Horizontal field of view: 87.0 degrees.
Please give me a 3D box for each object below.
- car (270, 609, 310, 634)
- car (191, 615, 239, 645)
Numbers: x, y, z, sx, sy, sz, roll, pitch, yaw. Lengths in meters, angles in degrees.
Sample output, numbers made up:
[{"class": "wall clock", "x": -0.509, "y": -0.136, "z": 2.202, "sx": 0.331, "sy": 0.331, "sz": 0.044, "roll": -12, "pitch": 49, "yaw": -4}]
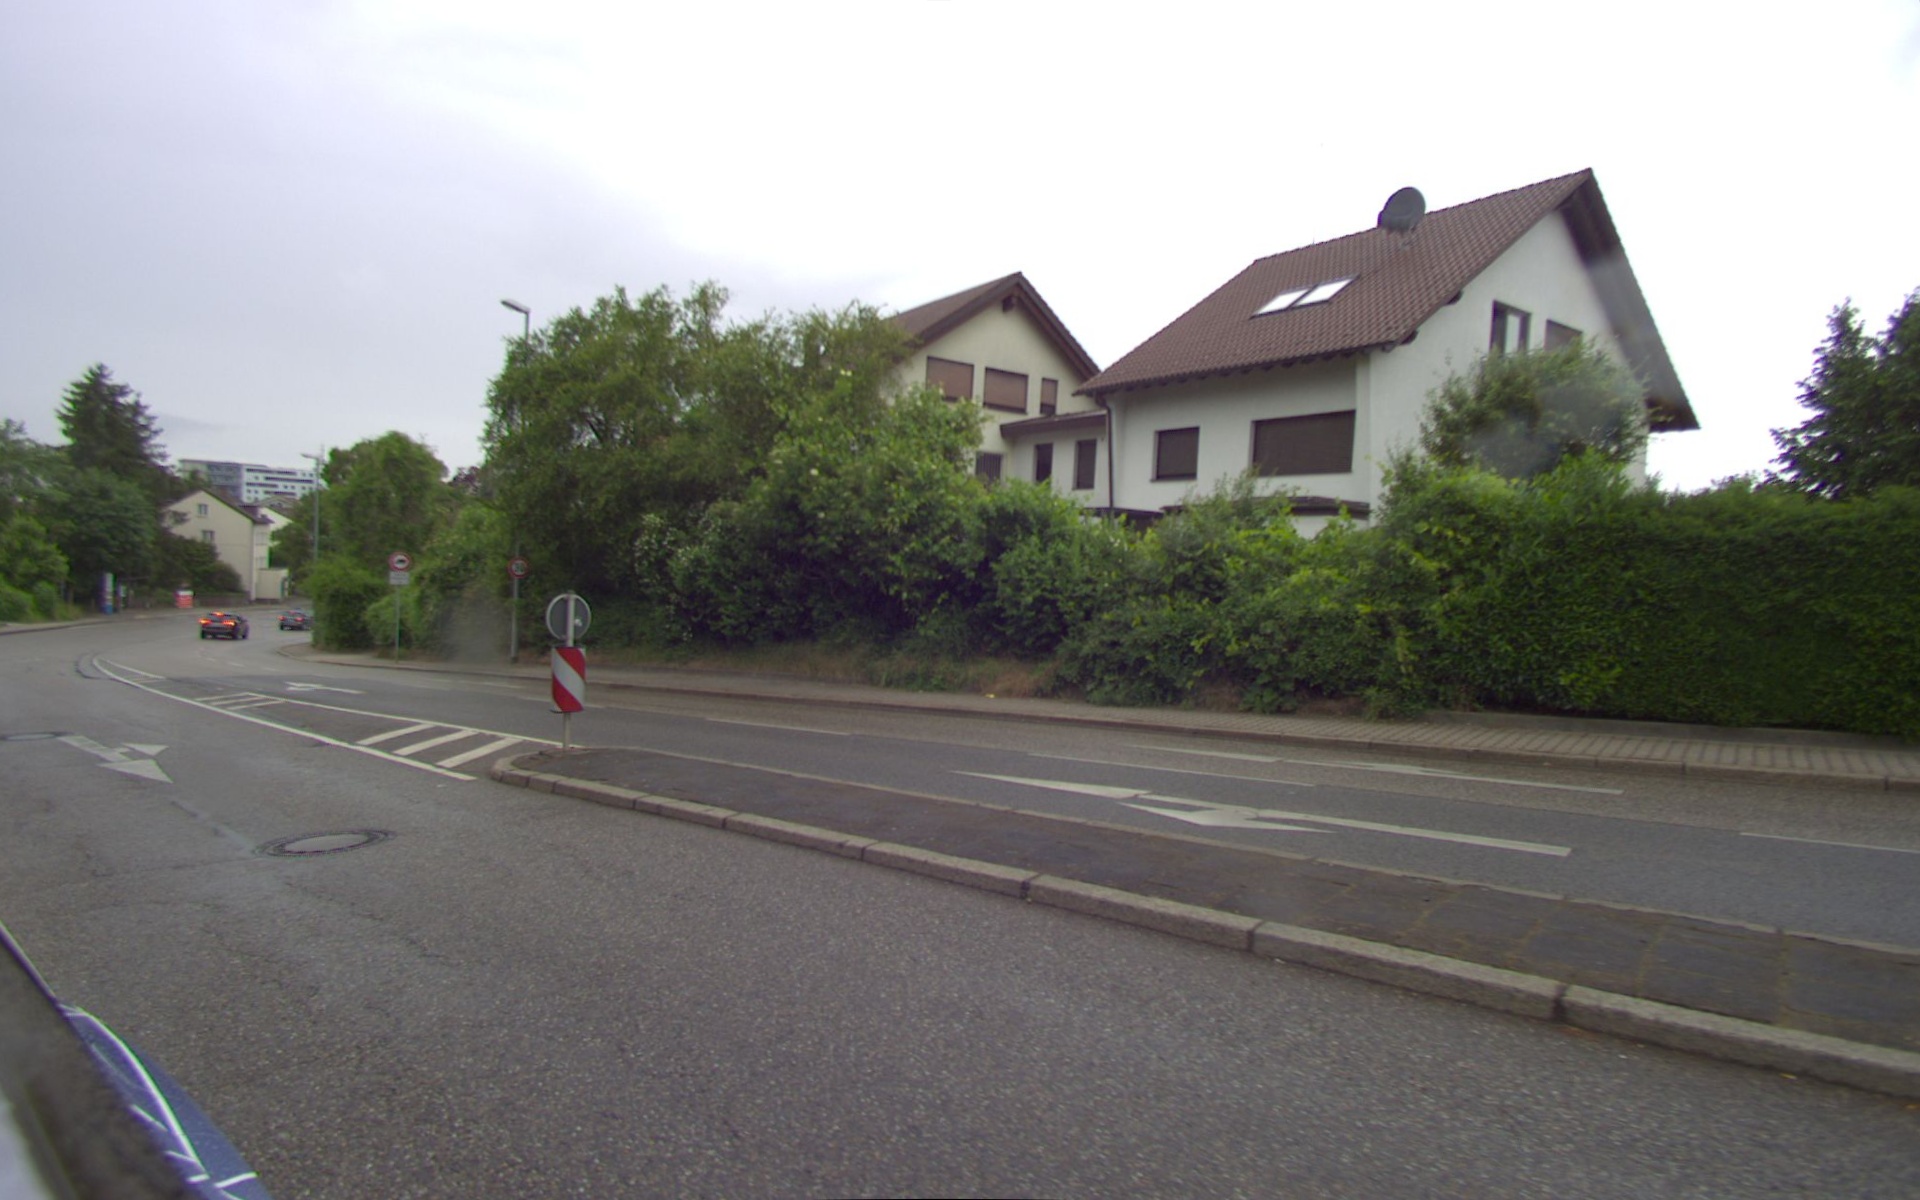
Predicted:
[{"class": "car", "x": -55.557, "y": 1.825, "z": 83.942, "sx": 2.096, "sy": 2.029, "sz": 4.099, "roll": 1, "pitch": -2, "yaw": -24}, {"class": "car", "x": -48.670, "y": 1.988, "z": 66.184, "sx": 1.928, "sy": 1.860, "sz": 4.012, "roll": 3, "pitch": -3, "yaw": -29}]
